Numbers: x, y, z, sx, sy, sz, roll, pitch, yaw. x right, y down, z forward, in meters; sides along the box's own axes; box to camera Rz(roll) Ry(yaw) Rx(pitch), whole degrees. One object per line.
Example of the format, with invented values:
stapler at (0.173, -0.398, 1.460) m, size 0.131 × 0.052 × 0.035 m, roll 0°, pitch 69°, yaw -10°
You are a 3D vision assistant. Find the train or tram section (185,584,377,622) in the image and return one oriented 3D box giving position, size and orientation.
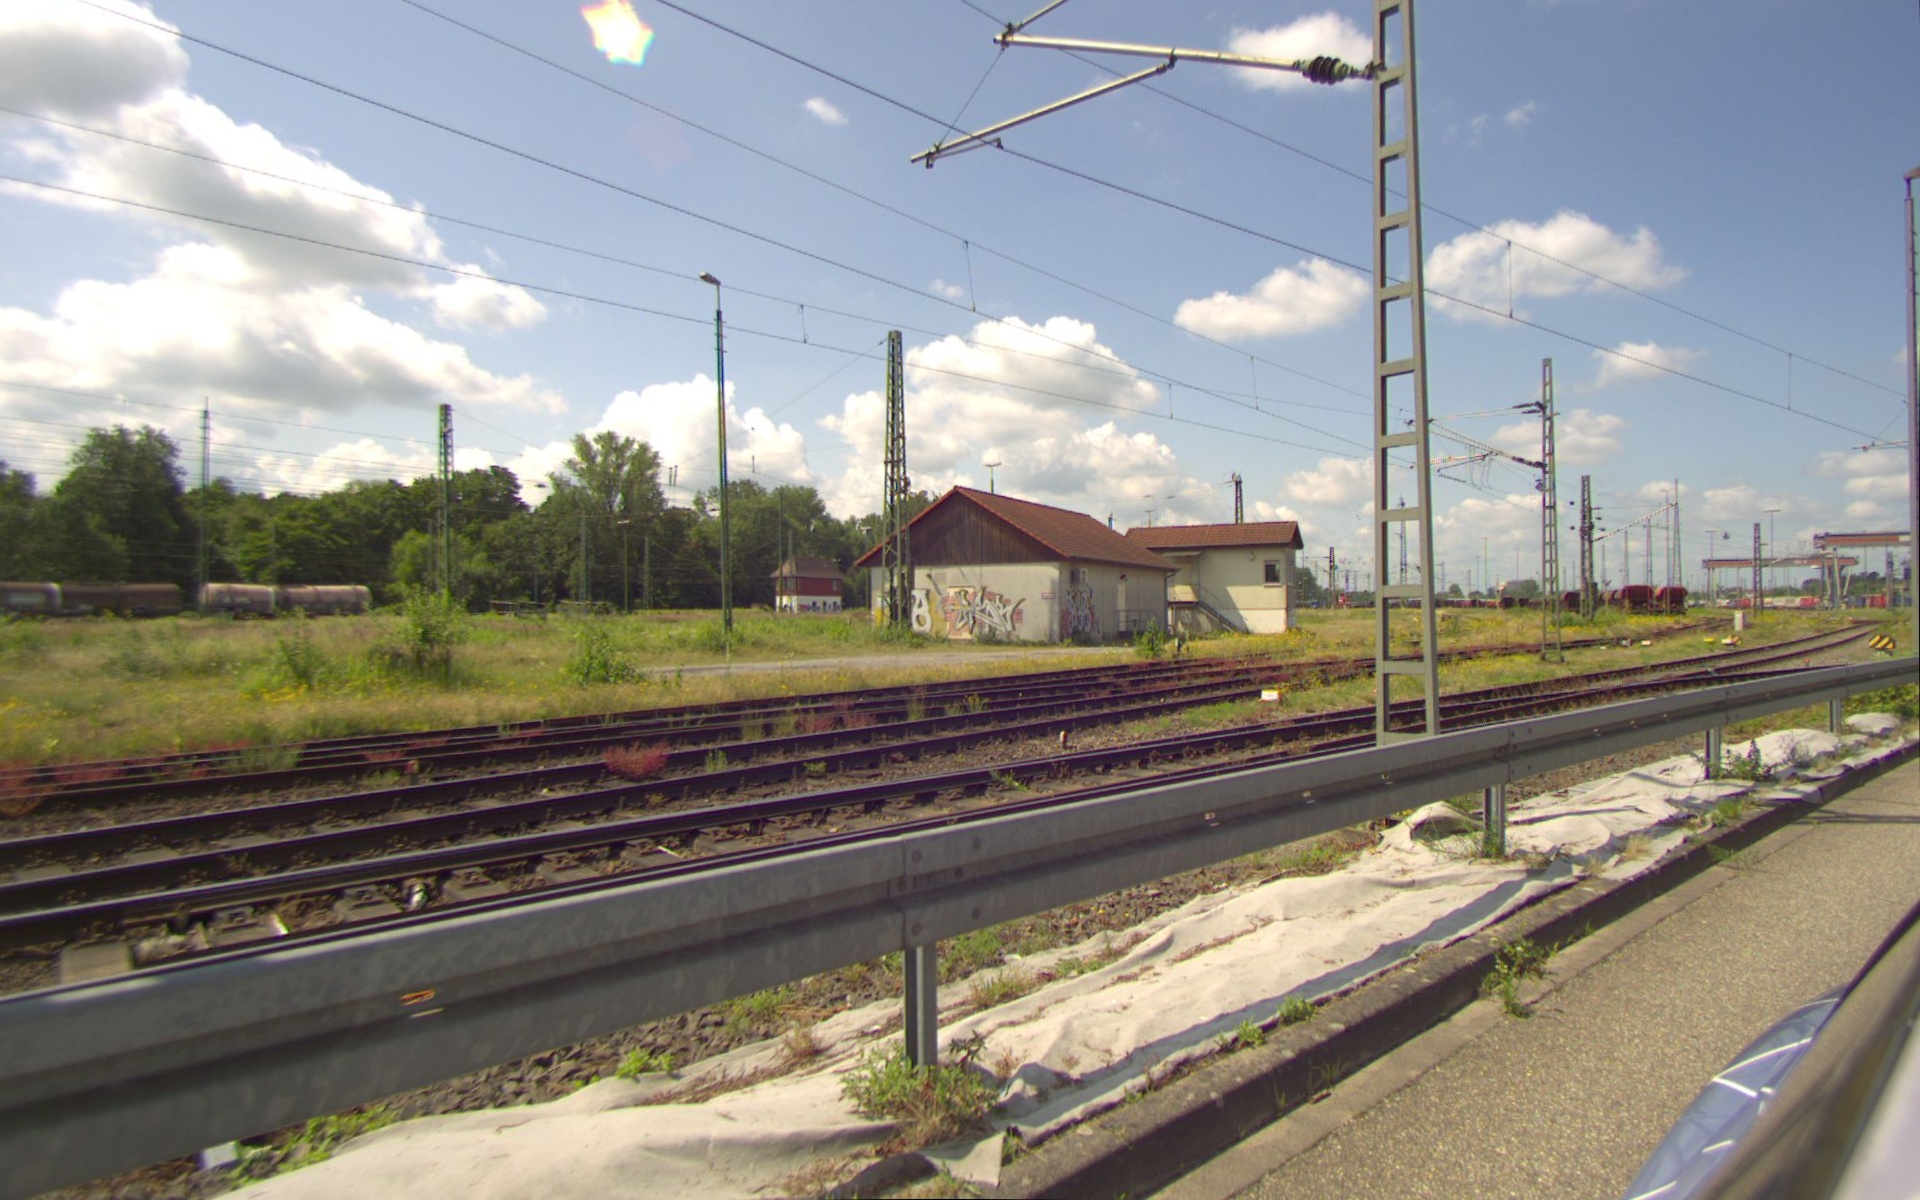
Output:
train or tram section at (-64.009, 0.175, 96.224) m, size 3.006 × 3.347 × 15.604 m, roll -1°, pitch 0°, yaw 28°

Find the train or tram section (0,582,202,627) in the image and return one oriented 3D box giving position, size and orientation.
train or tram section at (-70.911, 0.284, 83.201) m, size 3.006 × 3.347 × 13.802 m, roll -1°, pitch 0°, yaw 28°

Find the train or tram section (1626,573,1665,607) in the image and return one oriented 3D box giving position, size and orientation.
train or tram section at (80.667, -1.110, 119.223) m, size 3.276 × 3.764 × 12.407 m, roll -1°, pitch -1°, yaw 32°

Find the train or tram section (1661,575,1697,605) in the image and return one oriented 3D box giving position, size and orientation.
train or tram section at (96.713, -1.269, 136.287) m, size 3.181 × 3.764 × 12.407 m, roll -1°, pitch -1°, yaw 32°
